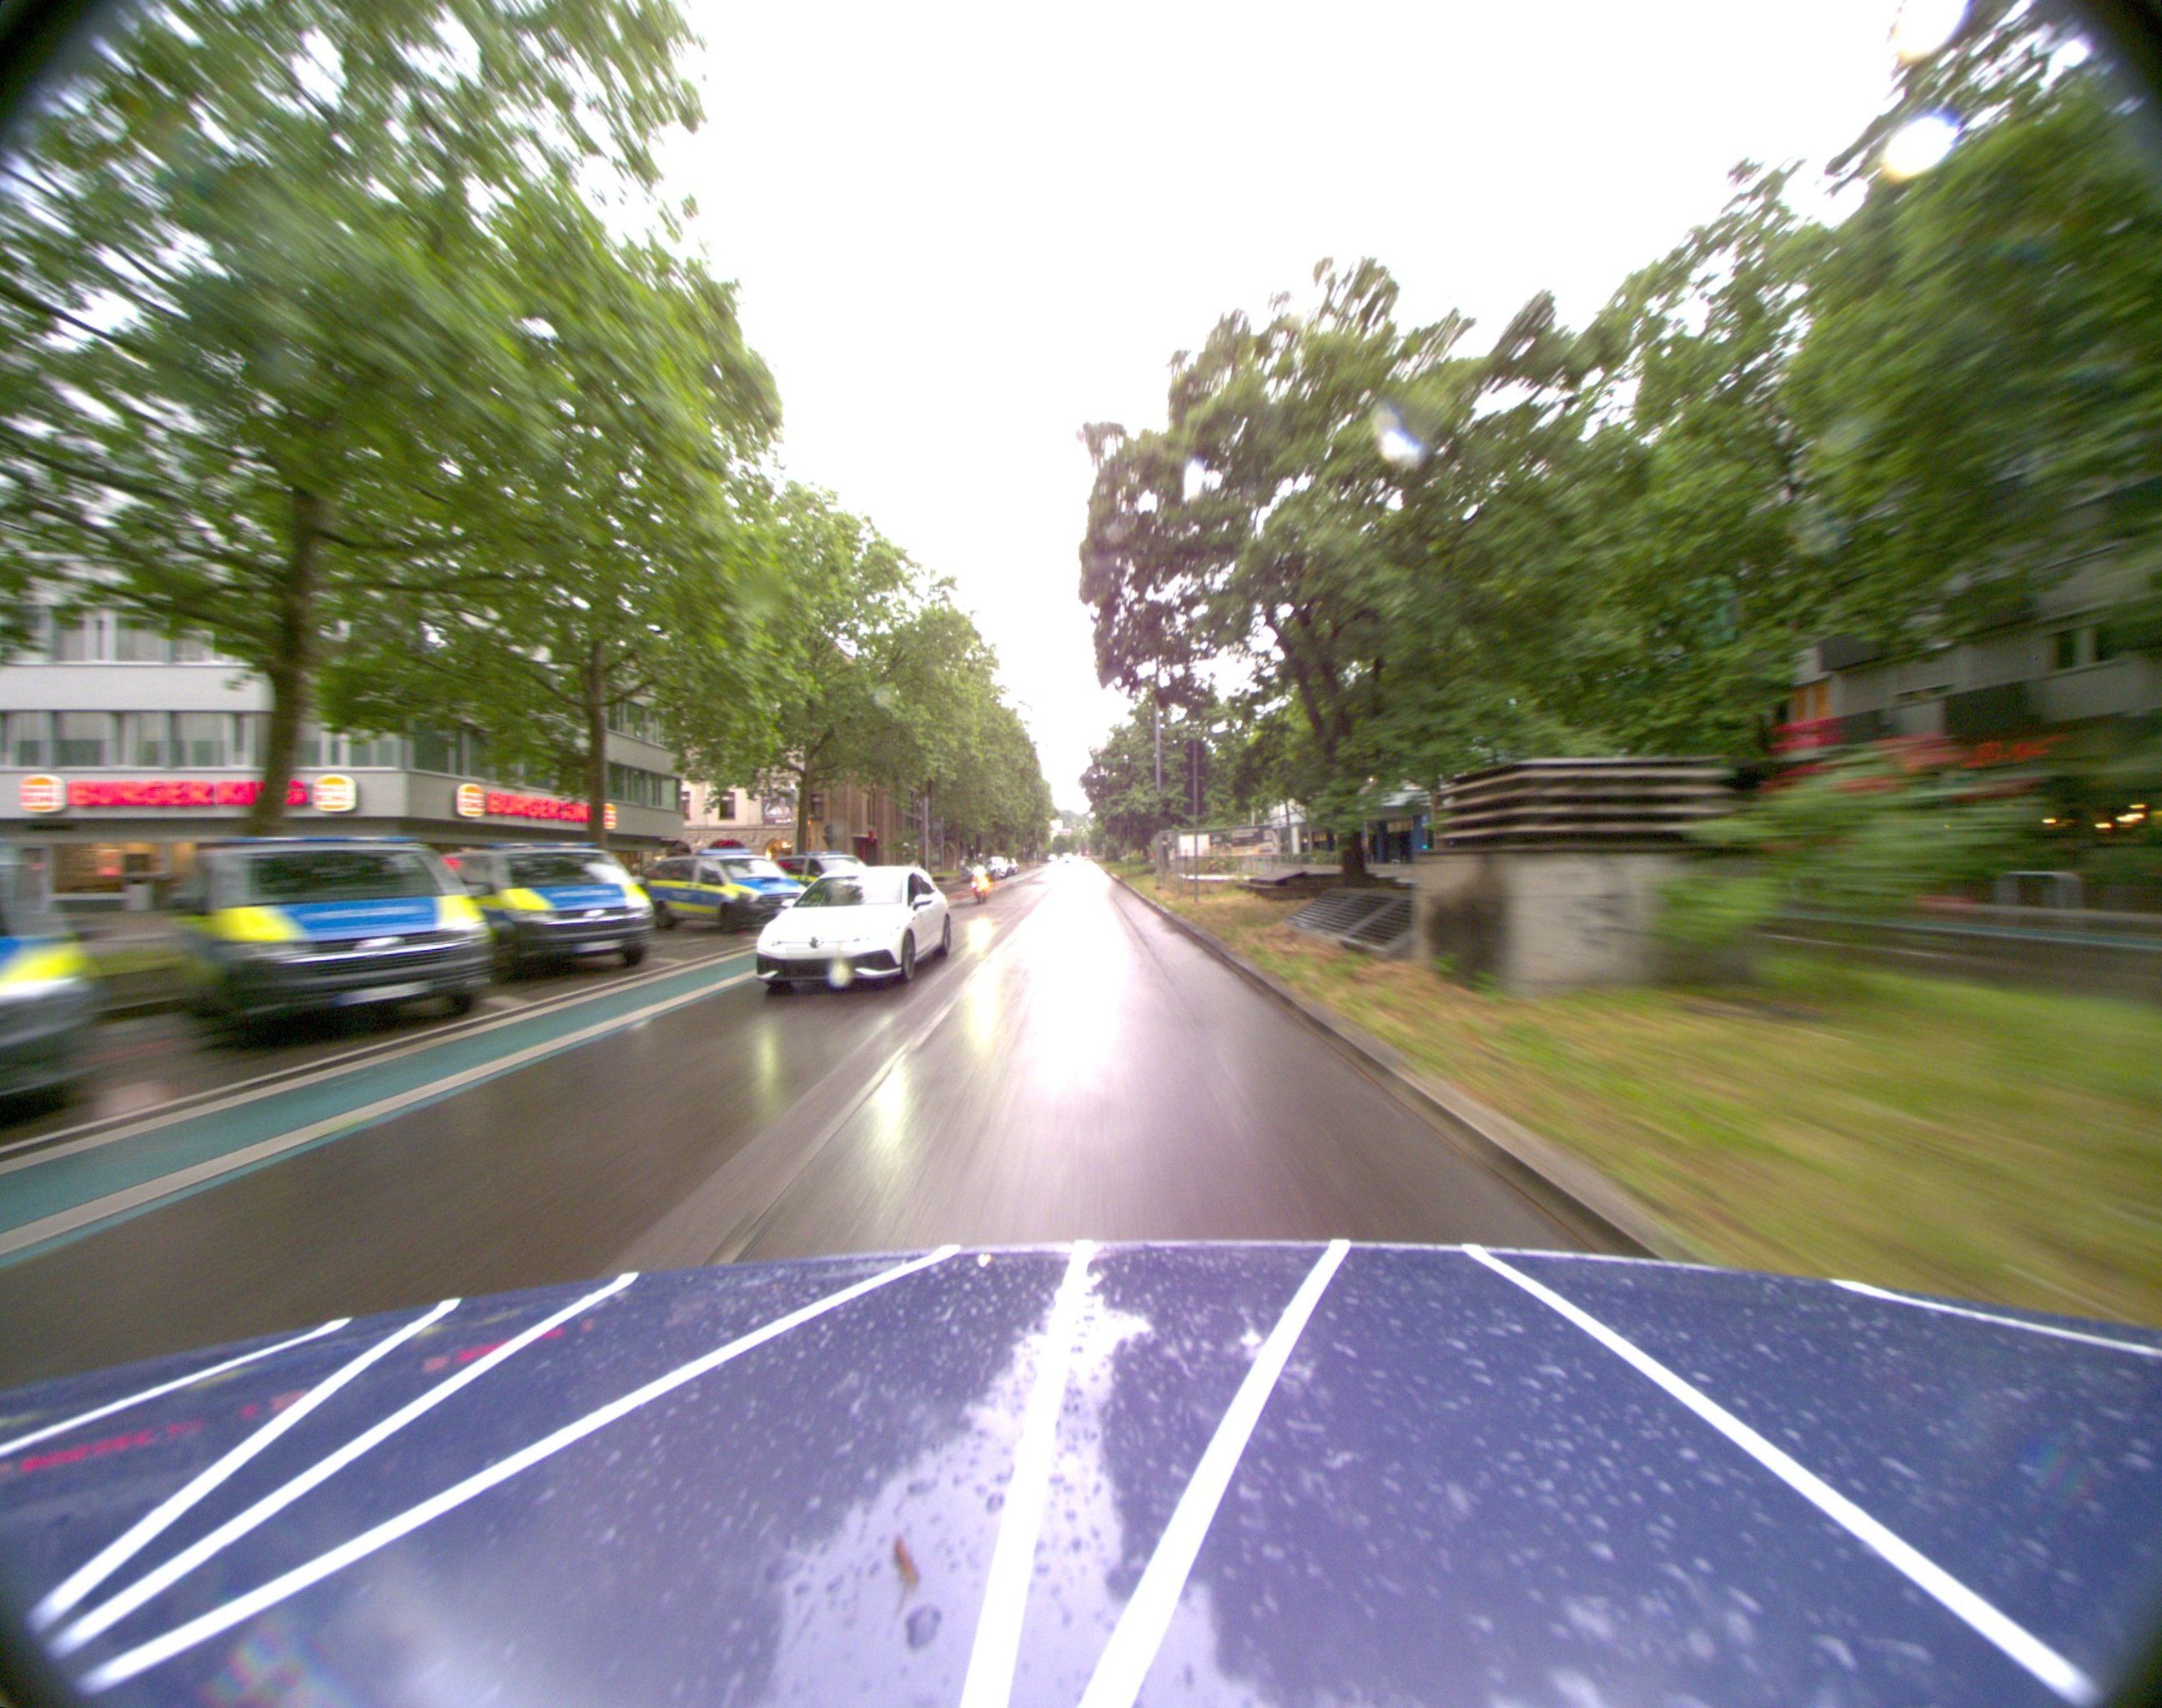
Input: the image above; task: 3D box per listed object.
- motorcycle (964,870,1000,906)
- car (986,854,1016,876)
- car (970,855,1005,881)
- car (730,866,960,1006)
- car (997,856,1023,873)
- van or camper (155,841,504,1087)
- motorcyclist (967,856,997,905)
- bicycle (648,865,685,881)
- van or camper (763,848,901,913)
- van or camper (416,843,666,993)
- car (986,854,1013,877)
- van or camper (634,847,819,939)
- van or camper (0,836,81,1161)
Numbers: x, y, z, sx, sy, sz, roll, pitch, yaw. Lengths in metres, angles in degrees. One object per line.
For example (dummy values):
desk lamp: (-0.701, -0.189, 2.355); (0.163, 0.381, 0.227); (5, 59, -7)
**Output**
motorcycle: (-3.423, 1.134, 26.222); (0.869, 1.136, 2.019); (-2, 0, -17)
car: (-6.452, 0.870, 61.472); (1.999, 1.580, 4.559); (-2, 0, -2)
car: (-6.249, 0.878, 51.223); (1.797, 1.593, 4.423); (-2, 0, -1)
car: (-3.016, 0.955, 10.827); (1.866, 1.436, 4.508); (-2, 0, -1)
car: (-6.219, 0.899, 66.964); (1.747, 1.424, 4.585); (-2, 0, 1)
van or camper: (-8.528, 0.935, 8.484); (4.781, 1.999, 2.004); (-1, 1, 37)
motorcyclist: (-3.404, 0.885, 26.131); (0.850, 1.635, 0.870); (-2, 1, -18)
bicycle: (-25.918, 1.197, 47.471); (1.971, 0.932, 0.625); (-2, 1, 4)
van or camper: (-8.578, 0.888, 25.938); (4.933, 1.980, 2.006); (-2, 1, 39)
van or camper: (-8.882, 0.887, 12.333); (4.841, 1.986, 1.871); (-1, 1, 37)
car: (-6.030, 0.843, 56.409); (1.756, 1.576, 4.408); (-2, 0, -4)
van or camper: (-9.063, 0.943, 19.237); (5.074, 2.007, 2.001); (-2, 0, 37)
van or camper: (-9.092, 0.925, 5.390); (5.010, 1.984, 2.004); (-1, 1, 33)
